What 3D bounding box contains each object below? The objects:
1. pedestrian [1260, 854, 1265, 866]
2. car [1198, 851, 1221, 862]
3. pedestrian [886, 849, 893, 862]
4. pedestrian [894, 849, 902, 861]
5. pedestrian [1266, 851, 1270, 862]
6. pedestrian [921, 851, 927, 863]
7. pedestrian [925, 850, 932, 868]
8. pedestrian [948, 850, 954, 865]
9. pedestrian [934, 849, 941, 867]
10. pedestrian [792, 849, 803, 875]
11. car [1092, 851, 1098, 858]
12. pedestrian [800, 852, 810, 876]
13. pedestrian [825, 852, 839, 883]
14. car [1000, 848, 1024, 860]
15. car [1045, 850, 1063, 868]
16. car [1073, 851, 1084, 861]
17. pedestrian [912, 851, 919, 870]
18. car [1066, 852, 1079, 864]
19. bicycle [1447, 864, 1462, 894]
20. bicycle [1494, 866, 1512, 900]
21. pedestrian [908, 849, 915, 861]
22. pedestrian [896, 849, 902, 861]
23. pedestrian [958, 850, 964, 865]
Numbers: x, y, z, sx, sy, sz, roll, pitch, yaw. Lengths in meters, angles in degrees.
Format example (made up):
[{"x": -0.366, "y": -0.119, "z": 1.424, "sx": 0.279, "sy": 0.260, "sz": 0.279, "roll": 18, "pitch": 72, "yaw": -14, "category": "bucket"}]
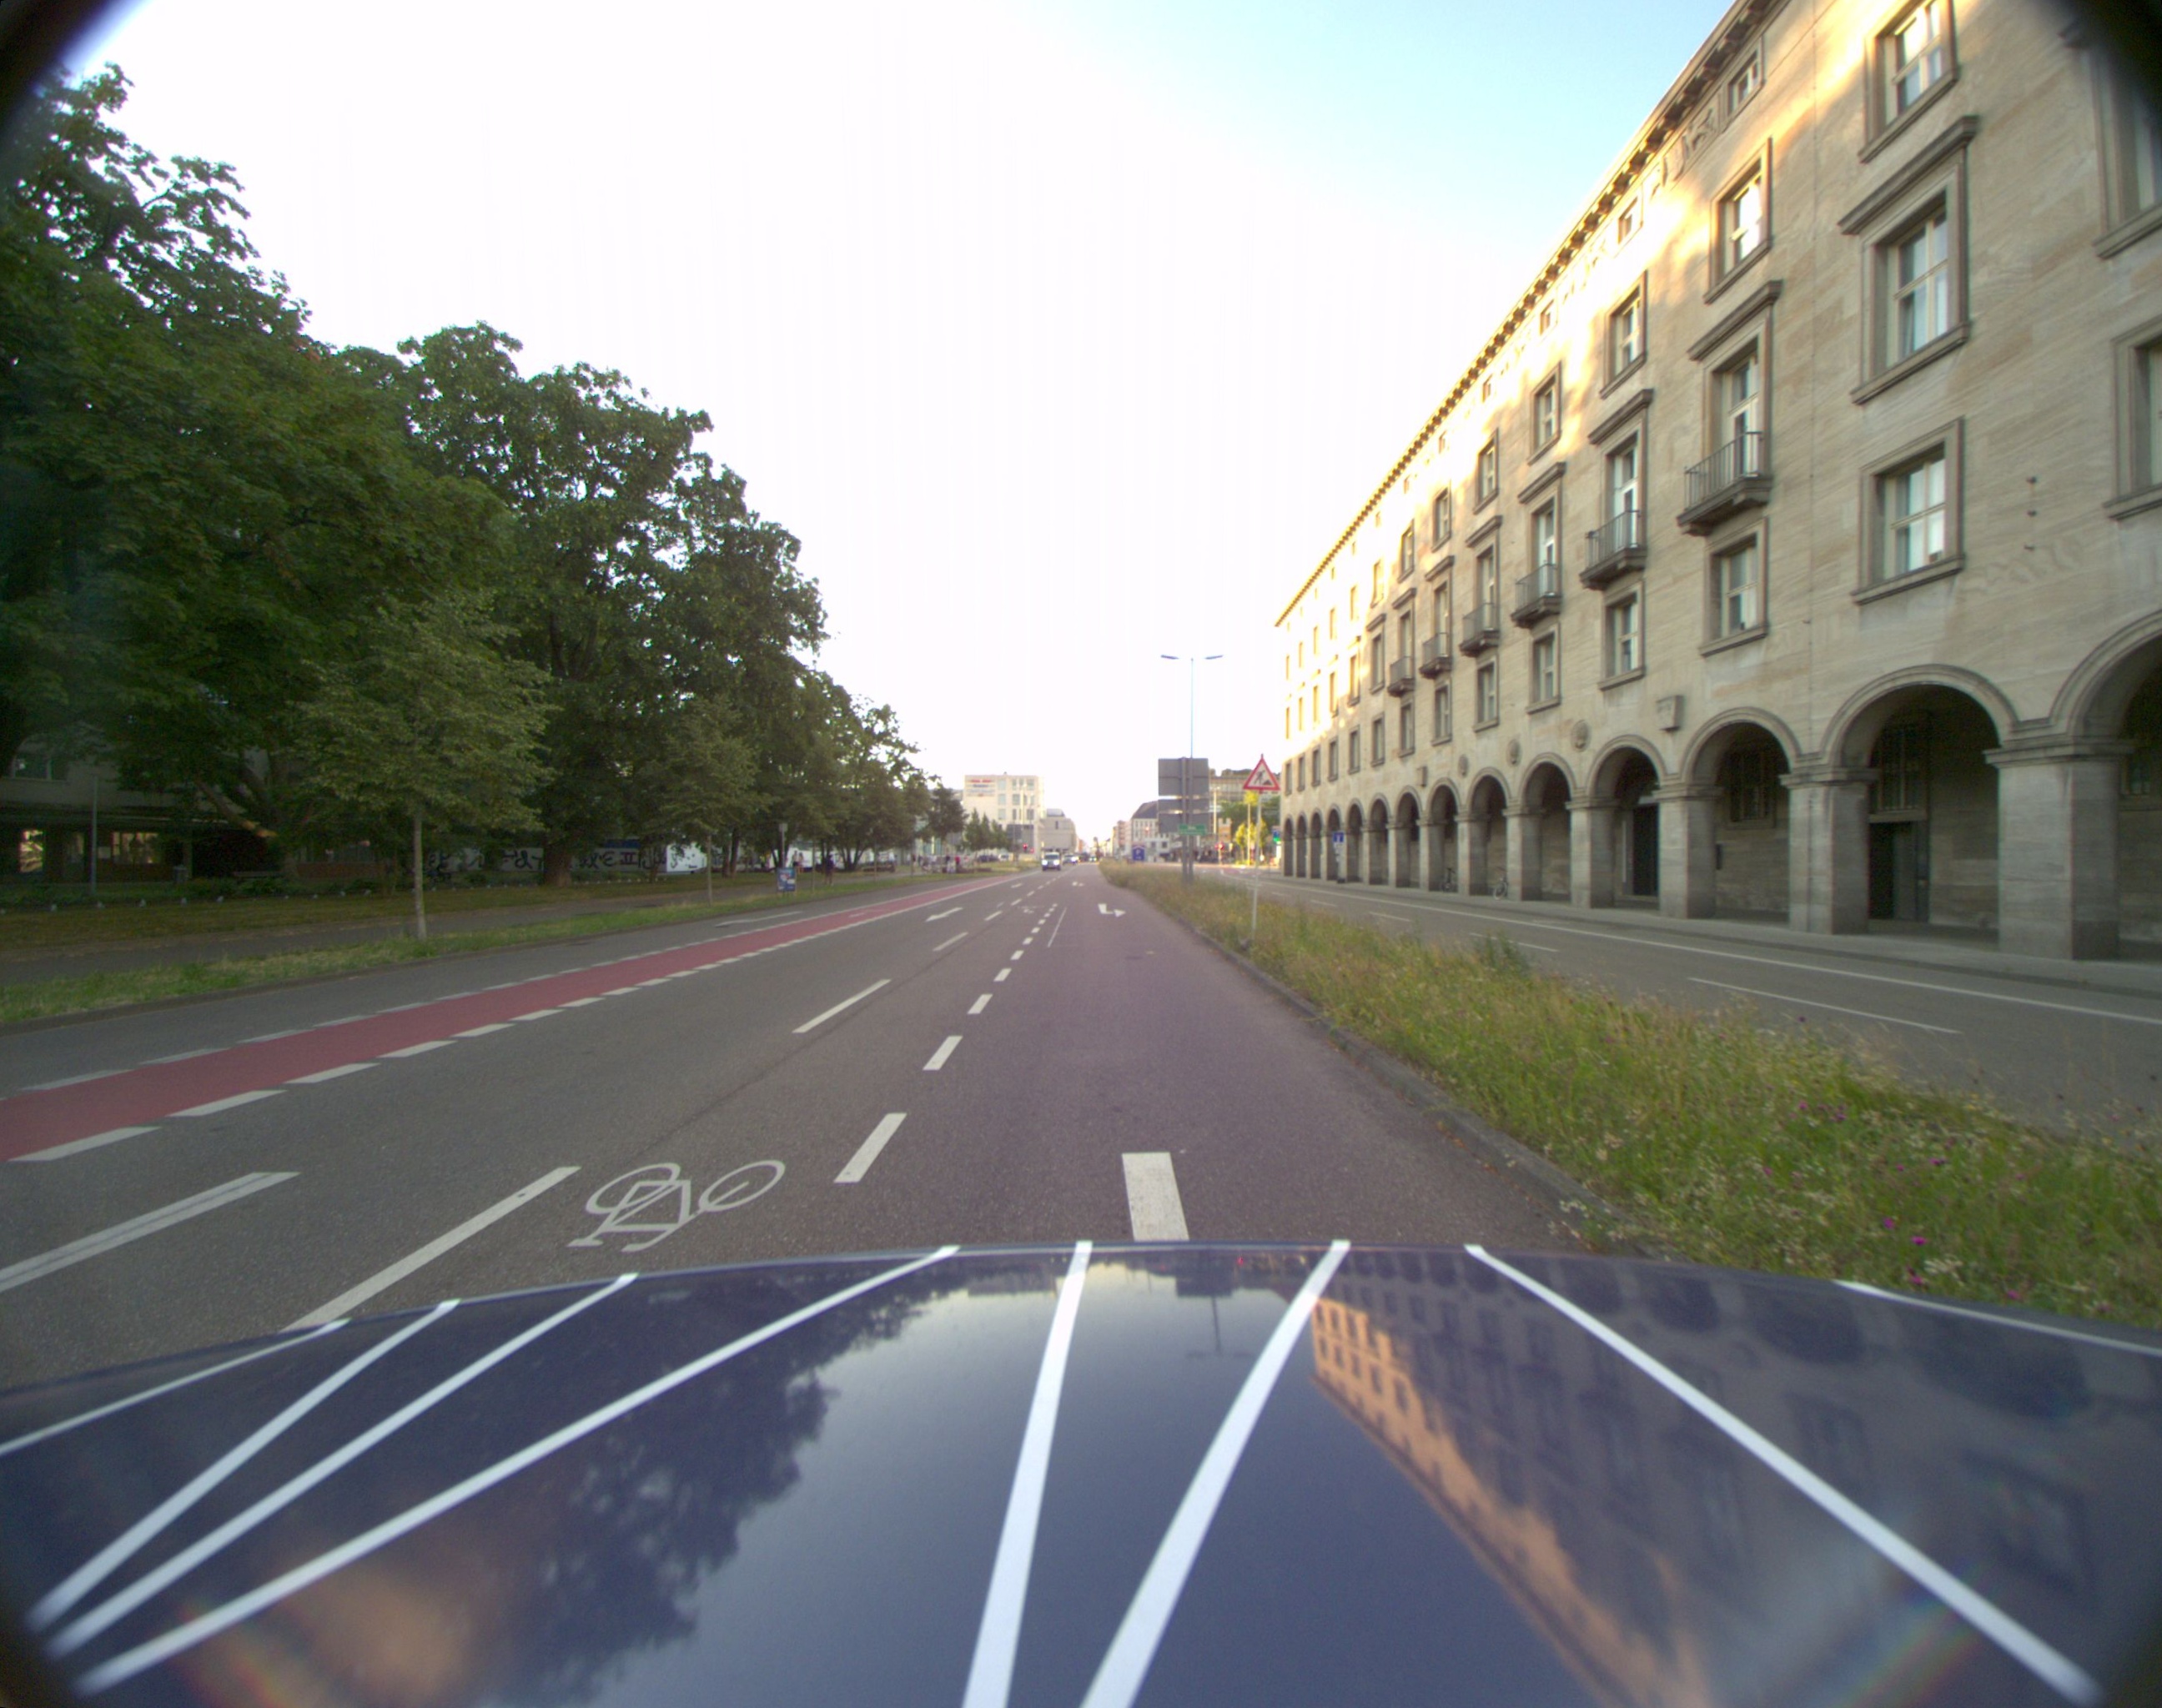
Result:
[{"x": 25.693, "y": 0.878, "z": 107.476, "sx": 0.638, "sy": 1.747, "sz": 0.506, "roll": 0, "pitch": 1, "yaw": 1, "category": "pedestrian"}, {"x": 23.517, "y": 0.390, "z": 139.283, "sx": 3.997, "sy": 2.002, "sz": 2.000, "roll": 0, "pitch": 0, "yaw": 0, "category": "car"}, {"x": -21.101, "y": 0.170, "z": 83.780, "sx": 0.519, "sy": 1.347, "sz": 0.773, "roll": 0, "pitch": 1, "yaw": 1, "category": "pedestrian"}, {"x": -20.821, "y": 0.150, "z": 86.349, "sx": 0.728, "sy": 1.347, "sz": 0.614, "roll": 0, "pitch": 1, "yaw": 1, "category": "pedestrian"}, {"x": 26.429, "y": 0.349, "z": 107.243, "sx": 0.526, "sy": 1.532, "sz": 0.390, "roll": 0, "pitch": 1, "yaw": 1, "category": "pedestrian"}, {"x": -17.950, "y": 0.337, "z": 86.803, "sx": 0.654, "sy": 1.347, "sz": 0.505, "roll": 0, "pitch": 1, "yaw": 1, "category": "pedestrian"}, {"x": -14.825, "y": 0.474, "z": 73.997, "sx": 0.519, "sy": 1.720, "sz": 0.719, "roll": 0, "pitch": 1, "yaw": 1, "category": "pedestrian"}, {"x": -14.667, "y": 0.407, "z": 85.877, "sx": 0.638, "sy": 1.747, "sz": 0.506, "roll": 0, "pitch": 1, "yaw": 1, "category": "pedestrian"}, {"x": -13.954, "y": 0.419, "z": 73.856, "sx": 0.509, "sy": 1.720, "sz": 0.719, "roll": 0, "pitch": 1, "yaw": 1, "category": "pedestrian"}, {"x": -17.957, "y": 0.496, "z": 48.070, "sx": 0.500, "sy": 1.592, "sz": 0.522, "roll": 0, "pitch": 1, "yaw": 1, "category": "pedestrian"}, {"x": 4.647, "y": 0.028, "z": 250.384, "sx": 1.998, "sy": 2.297, "sz": 5.090, "roll": 0, "pitch": 0, "yaw": 1, "category": "car"}, {"x": -18.106, "y": 0.668, "z": 49.802, "sx": 0.500, "sy": 1.592, "sz": 0.365, "roll": 0, "pitch": 1, "yaw": 1, "category": "pedestrian"}, {"x": -13.716, "y": 0.740, "z": 41.898, "sx": 0.558, "sy": 1.729, "sz": 0.555, "roll": 0, "pitch": 1, "yaw": 1, "category": "pedestrian"}, {"x": -11.859, "y": -0.012, "z": 131.116, "sx": 3.997, "sy": 2.002, "sz": 2.000, "roll": 0, "pitch": 0, "yaw": 0, "category": "car"}, {"x": -2.809, "y": 0.504, "z": 79.759, "sx": 1.767, "sy": 1.877, "sz": 4.499, "roll": 0, "pitch": 0, "yaw": 0, "category": "car"}, {"x": -0.357, "y": 0.260, "z": 124.583, "sx": 1.782, "sy": 1.617, "sz": 4.215, "roll": -1, "pitch": 0, "yaw": 1, "category": "car"}, {"x": -15.080, "y": 0.561, "z": 69.335, "sx": 0.509, "sy": 1.720, "sz": 0.719, "roll": 0, "pitch": 1, "yaw": 1, "category": "pedestrian"}, {"x": -1.270, "y": 0.571, "z": 111.913, "sx": 1.826, "sy": 1.612, "sz": 4.336, "roll": 0, "pitch": 0, "yaw": 0, "category": "car"}, {"x": 15.613, "y": 1.018, "z": 31.784, "sx": 0.513, "sy": 1.172, "sz": 2.427, "roll": 0, "pitch": 0, "yaw": 25, "category": "bicycle"}, {"x": 15.315, "y": 1.016, "z": 27.546, "sx": 0.513, "sy": 1.115, "sz": 2.427, "roll": 0, "pitch": 1, "yaw": 30, "category": "bicycle"}, {"x": -19.413, "y": 0.149, "z": 86.833, "sx": 0.662, "sy": 1.347, "sz": 0.559, "roll": 0, "pitch": 1, "yaw": 1, "category": "pedestrian"}, {"x": -20.118, "y": 0.126, "z": 83.919, "sx": 0.519, "sy": 1.347, "sz": 0.773, "roll": 0, "pitch": 1, "yaw": 1, "category": "pedestrian"}, {"x": -13.497, "y": 0.396, "z": 85.512, "sx": 0.638, "sy": 1.747, "sz": 0.506, "roll": 0, "pitch": 1, "yaw": 1, "category": "pedestrian"}]
